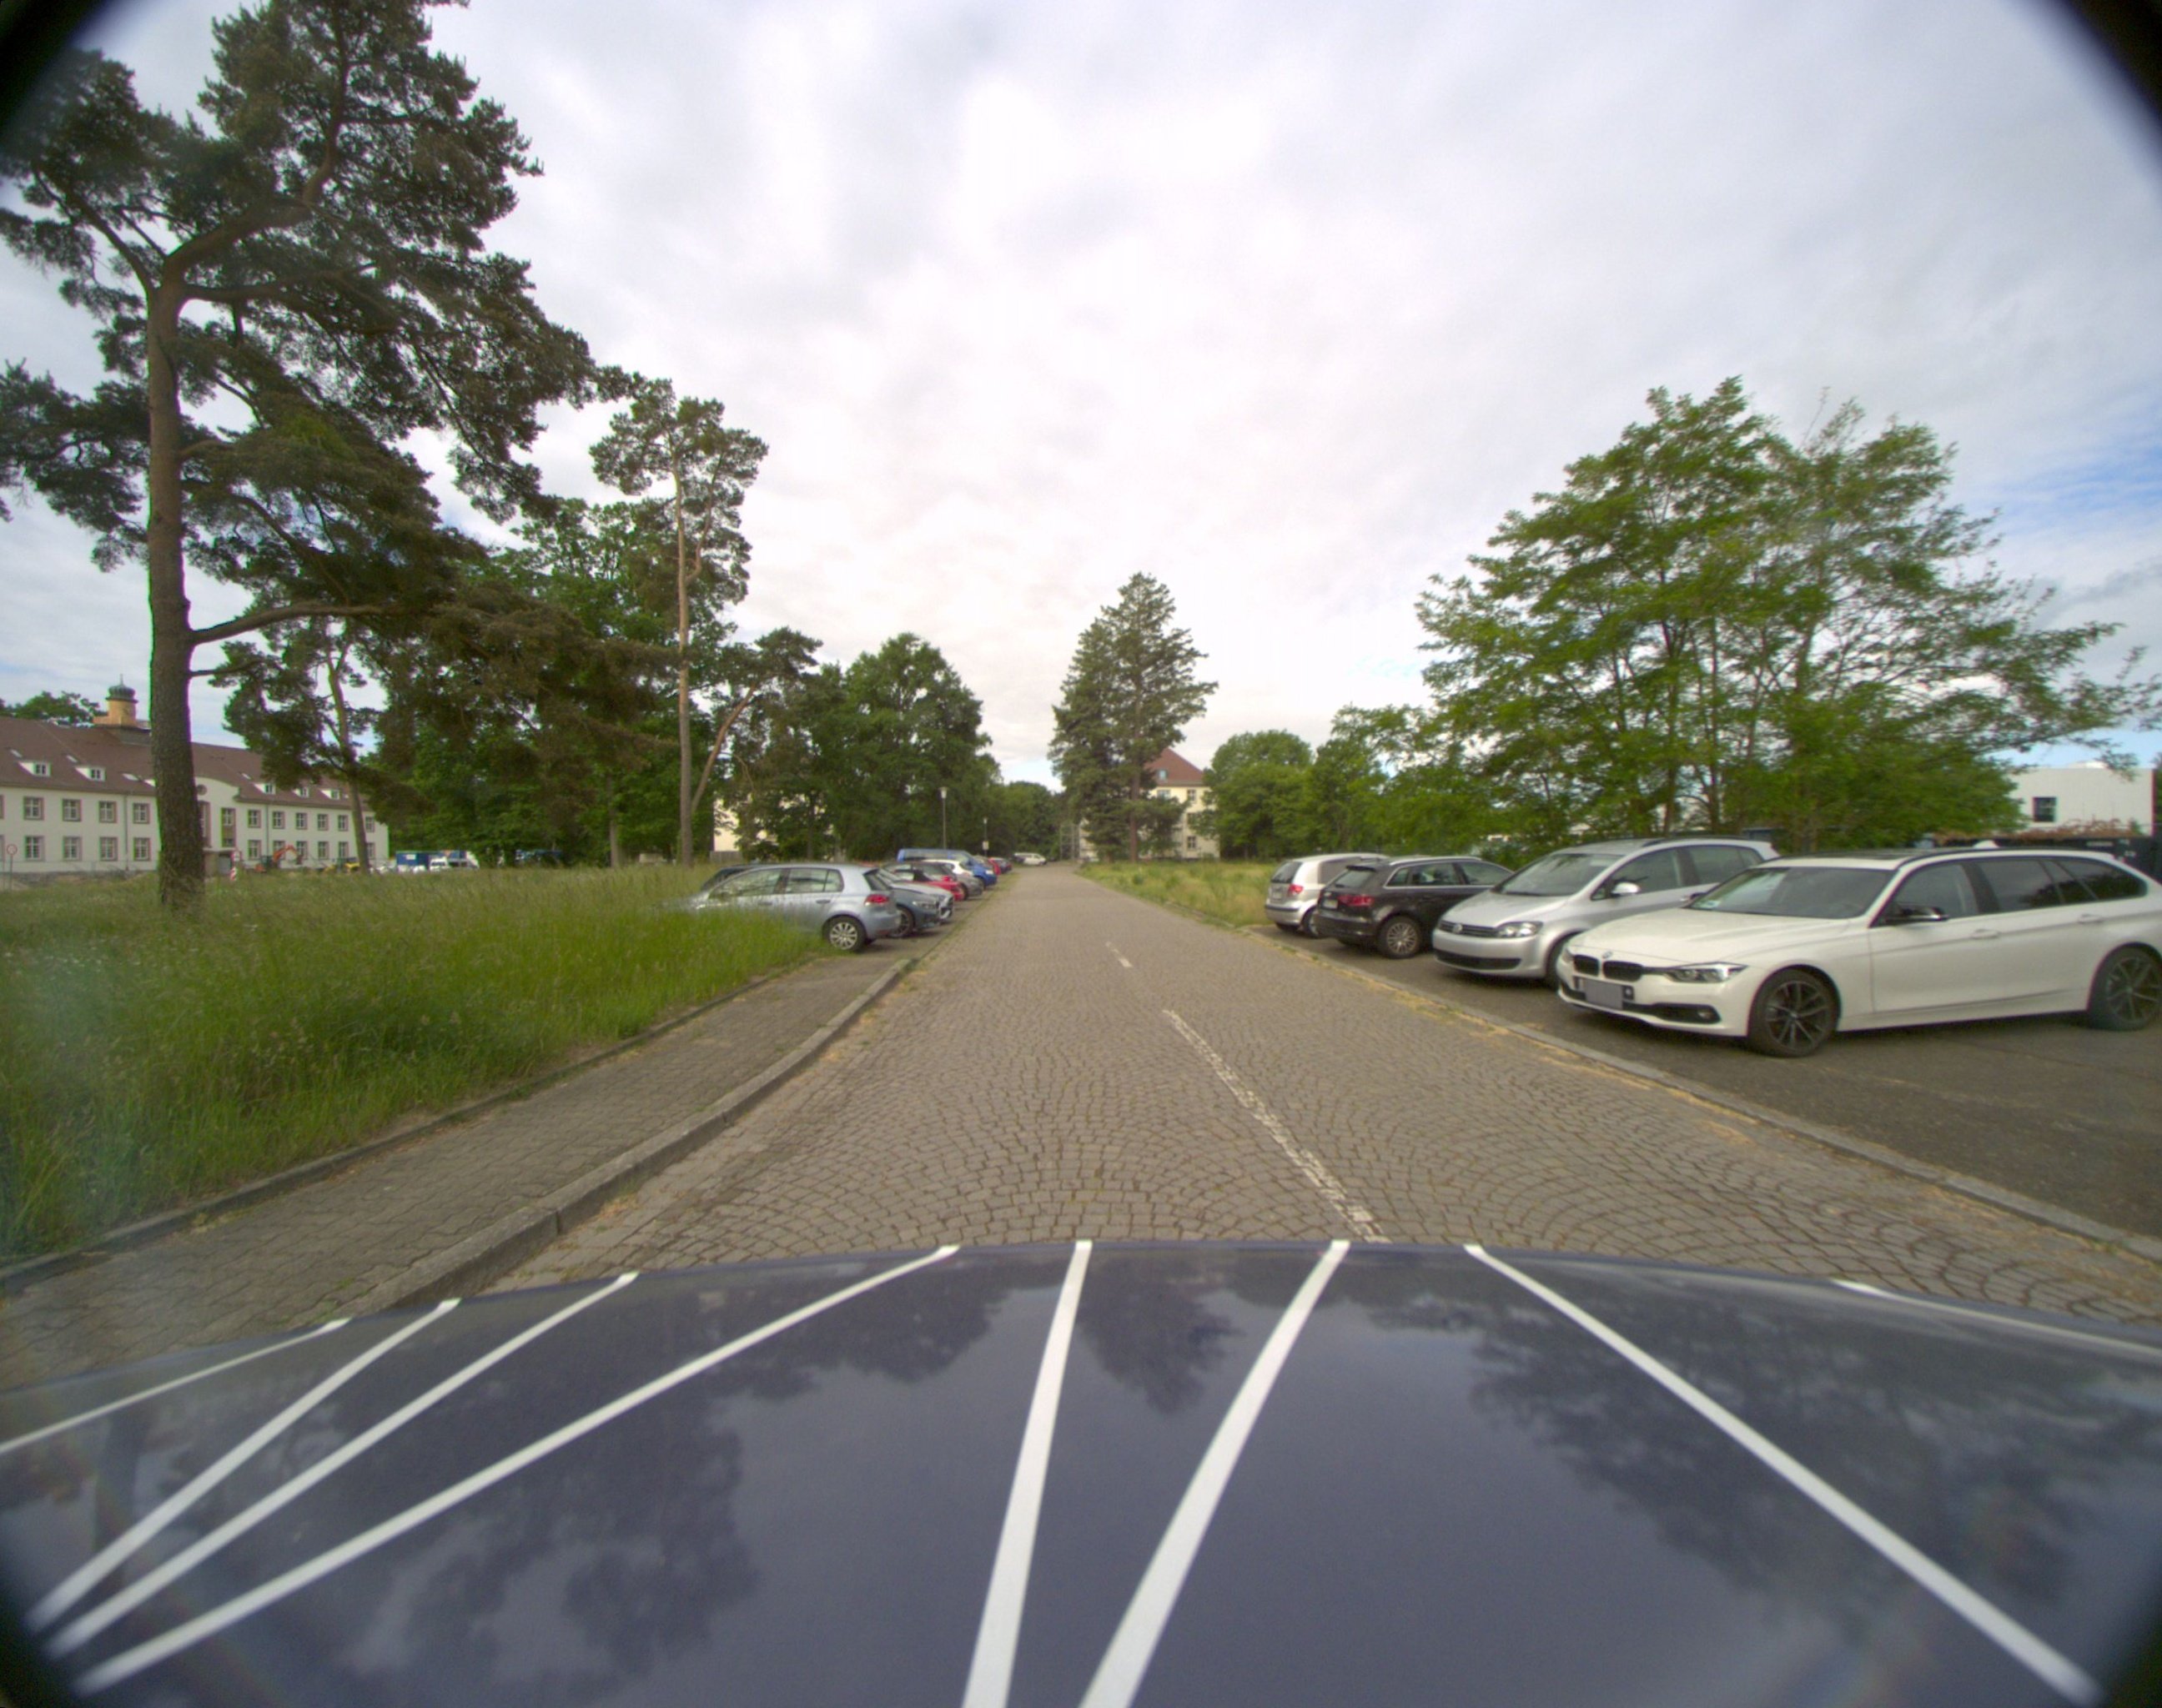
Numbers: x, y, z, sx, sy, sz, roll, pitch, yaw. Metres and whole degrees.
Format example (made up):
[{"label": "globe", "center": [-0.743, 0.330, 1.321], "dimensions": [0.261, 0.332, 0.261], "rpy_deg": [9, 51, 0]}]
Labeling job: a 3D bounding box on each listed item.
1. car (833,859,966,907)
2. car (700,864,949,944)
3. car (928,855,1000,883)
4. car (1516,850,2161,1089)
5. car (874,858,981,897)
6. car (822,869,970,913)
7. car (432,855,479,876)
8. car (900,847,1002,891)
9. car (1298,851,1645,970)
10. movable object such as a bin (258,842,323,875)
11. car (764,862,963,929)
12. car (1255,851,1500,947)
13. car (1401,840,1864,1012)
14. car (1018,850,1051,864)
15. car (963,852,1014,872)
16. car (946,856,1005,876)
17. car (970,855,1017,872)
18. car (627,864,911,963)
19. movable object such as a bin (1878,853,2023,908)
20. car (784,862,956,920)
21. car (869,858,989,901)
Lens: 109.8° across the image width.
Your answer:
[{"label": "car", "center": [-5.998, 0.949, 25.357], "dimensions": [4.051, 1.507, 1.600], "rpy_deg": [0, 0, -1]}, {"label": "car", "center": [-5.005, 0.976, 15.325], "dimensions": [4.441, 1.375, 1.663], "rpy_deg": [2, 0, -5]}, {"label": "car", "center": [-6.940, 0.879, 45.394], "dimensions": [4.084, 1.584, 1.654], "rpy_deg": [0, 0, -1]}, {"label": "car", "center": [6.578, 0.812, 6.468], "dimensions": [4.753, 1.479, 1.866], "rpy_deg": [-2, 0, -6]}, {"label": "car", "center": [-6.230, 0.932, 31.099], "dimensions": [4.051, 1.507, 1.600], "rpy_deg": [0, 0, -1]}, {"label": "car", "center": [-5.455, 1.076, 22.719], "dimensions": [4.051, 1.233, 1.549], "rpy_deg": [0, 0, -3]}, {"label": "car", "center": [-73.223, 1.302, 89.044], "dimensions": [1.862, 2.351, 4.445], "rpy_deg": [-2, 1, -3]}, {"label": "car", "center": [-6.177, 0.692, 36.523], "dimensions": [4.603, 1.994, 1.911], "rpy_deg": [0, 1, -1]}, {"label": "car", "center": [5.830, 0.784, 11.625], "dimensions": [4.448, 1.416, 1.721], "rpy_deg": [-3, 1, -5]}, {"label": "movable object such as a bin", "center": [-93.620, 0.539, 90.042], "dimensions": [5.459, 3.748, 2.052], "rpy_deg": [-2, 1, 0]}, {"label": "car", "center": [-5.053, 0.954, 18.071], "dimensions": [4.248, 1.465, 1.717], "rpy_deg": [0, 0, -1]}, {"label": "car", "center": [5.484, 0.781, 14.283], "dimensions": [3.961, 1.462, 1.584], "rpy_deg": [-3, 1, -6]}, {"label": "car", "center": [6.364, 0.728, 9.010], "dimensions": [4.377, 1.588, 1.871], "rpy_deg": [-2, 1, -9]}, {"label": "car", "center": [-7.319, 0.415, 119.495], "dimensions": [5.151, 2.137, 1.774], "rpy_deg": [0, 0, -6]}, {"label": "car", "center": [-8.027, 0.724, 66.022], "dimensions": [4.082, 1.685, 1.727], "rpy_deg": [0, 0, 4]}, {"label": "car", "center": [-7.693, 0.865, 55.680], "dimensions": [4.084, 1.436, 1.726], "rpy_deg": [0, 0, -2]}, {"label": "car", "center": [-8.090, 0.838, 70.716], "dimensions": [4.092, 1.524, 1.727], "rpy_deg": [0, 0, 4]}, {"label": "car", "center": [-5.026, 0.950, 12.692], "dimensions": [4.013, 1.420, 1.697], "rpy_deg": [2, 0, -5]}, {"label": "movable object such as a bin", "center": [18.623, 0.550, 16.294], "dimensions": [2.268, 1.119, 0.858], "rpy_deg": [0, 1, -5]}, {"label": "car", "center": [-5.595, 0.967, 20.520], "dimensions": [4.185, 1.473, 1.717], "rpy_deg": [0, 0, -3]}, {"label": "car", "center": [-5.584, 0.934, 28.211], "dimensions": [4.098, 1.507, 1.700], "rpy_deg": [0, 0, -1]}]
